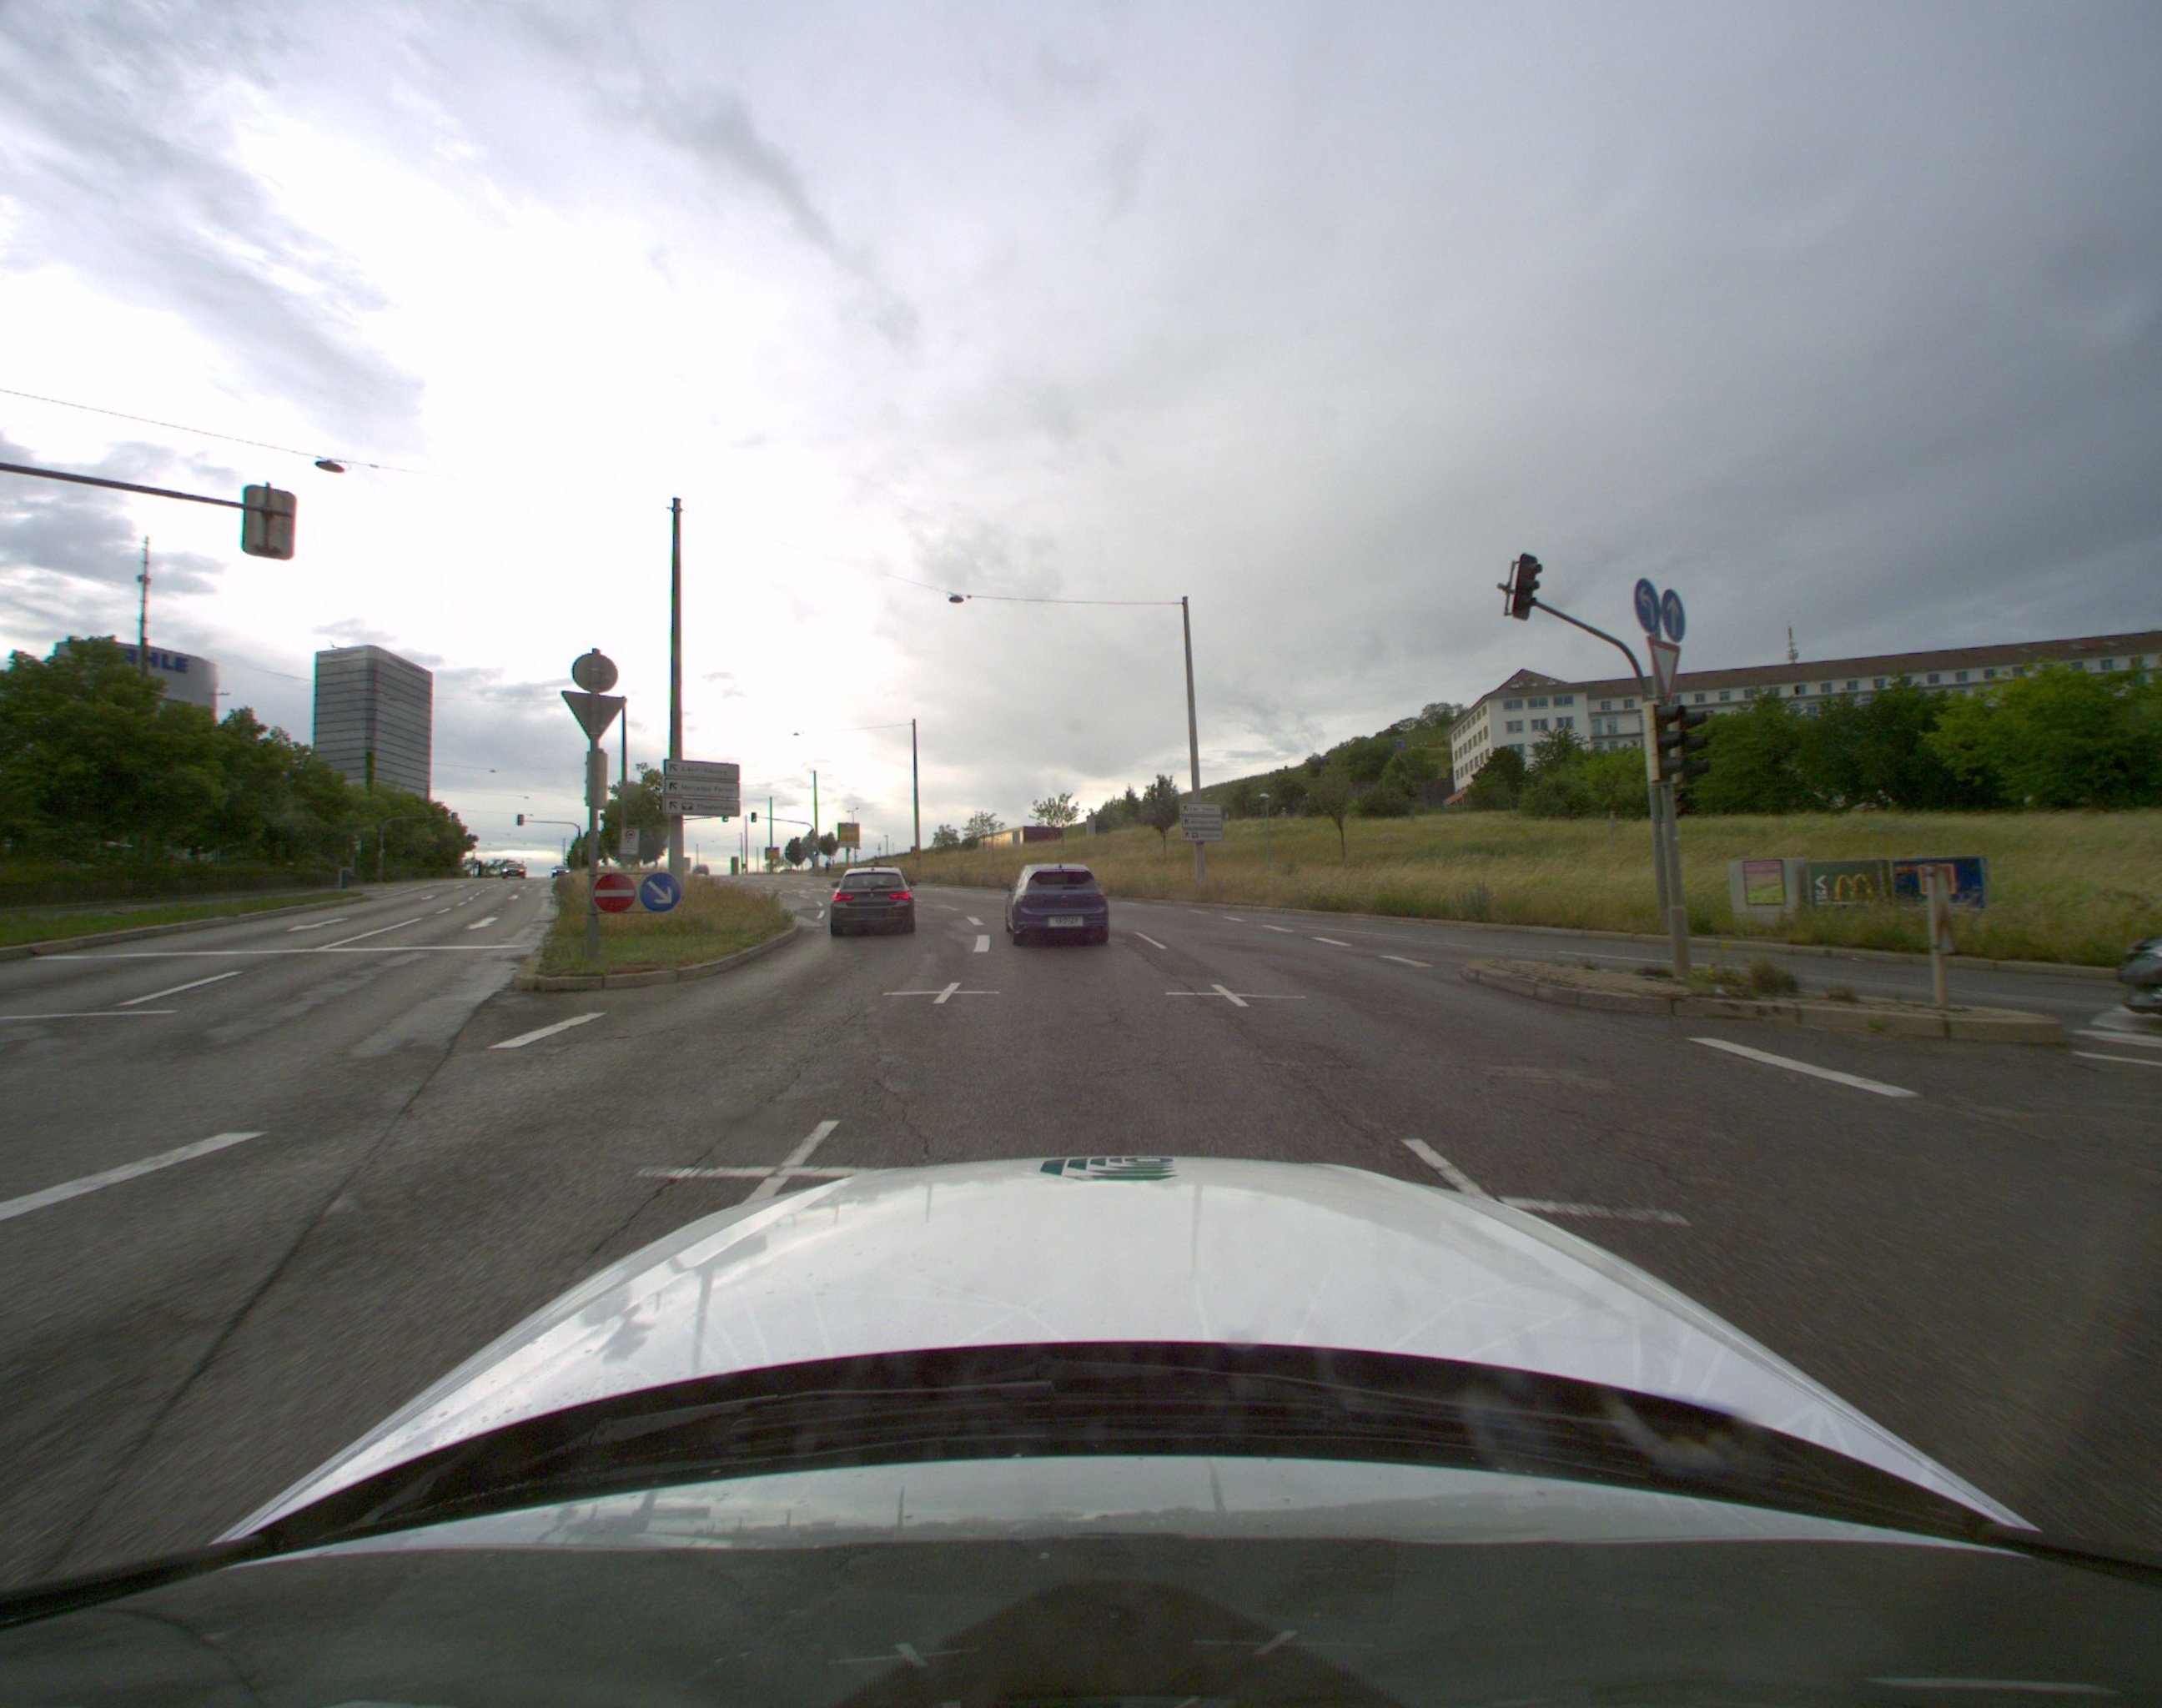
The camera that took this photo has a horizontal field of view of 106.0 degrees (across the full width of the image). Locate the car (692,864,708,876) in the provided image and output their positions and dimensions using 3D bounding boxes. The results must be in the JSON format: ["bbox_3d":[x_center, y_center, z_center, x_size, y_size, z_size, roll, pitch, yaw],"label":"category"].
[{"bbox_3d":[-51.123,2.167,109.211,1.731,1.542,3.670,3,-2,-28],"label":"car"}]

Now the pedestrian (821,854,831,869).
[{"bbox_3d":[-29.629,0.834,94.640,0.638,1.569,0.886,-13,13,-38],"label":"pedestrian"}]

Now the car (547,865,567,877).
[{"bbox_3d":[-61.876,2.004,96.165,1.821,1.470,3.576,2,-2,-32],"label":"car"}]

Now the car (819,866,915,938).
[{"bbox_3d":[-4.781,1.011,18.680,1.870,1.461,3.960,0,-1,-11],"label":"car"}]

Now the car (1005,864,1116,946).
[{"bbox_3d":[-0.540,0.907,16.127,1.836,1.393,3.990,0,-1,-7],"label":"car"}]

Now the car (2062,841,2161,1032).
[{"bbox_3d":[11.107,0.707,6.109,2.007,1.642,4.580,2,-2,-33],"label":"car"}]

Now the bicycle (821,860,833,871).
[{"bbox_3d":[-29.580,1.354,94.730,0.638,1.104,1.733,-12,11,-38],"label":"bicycle"}]

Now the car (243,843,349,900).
[{"bbox_3d":[-29.969,0.662,31.244,2.006,2.014,3.961,-1,-1,-30],"label":"car"}]

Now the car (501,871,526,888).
[{"bbox_3d":[-58.126,2.613,83.440,1.874,1.620,3.959,1,-1,-33],"label":"car"}]
